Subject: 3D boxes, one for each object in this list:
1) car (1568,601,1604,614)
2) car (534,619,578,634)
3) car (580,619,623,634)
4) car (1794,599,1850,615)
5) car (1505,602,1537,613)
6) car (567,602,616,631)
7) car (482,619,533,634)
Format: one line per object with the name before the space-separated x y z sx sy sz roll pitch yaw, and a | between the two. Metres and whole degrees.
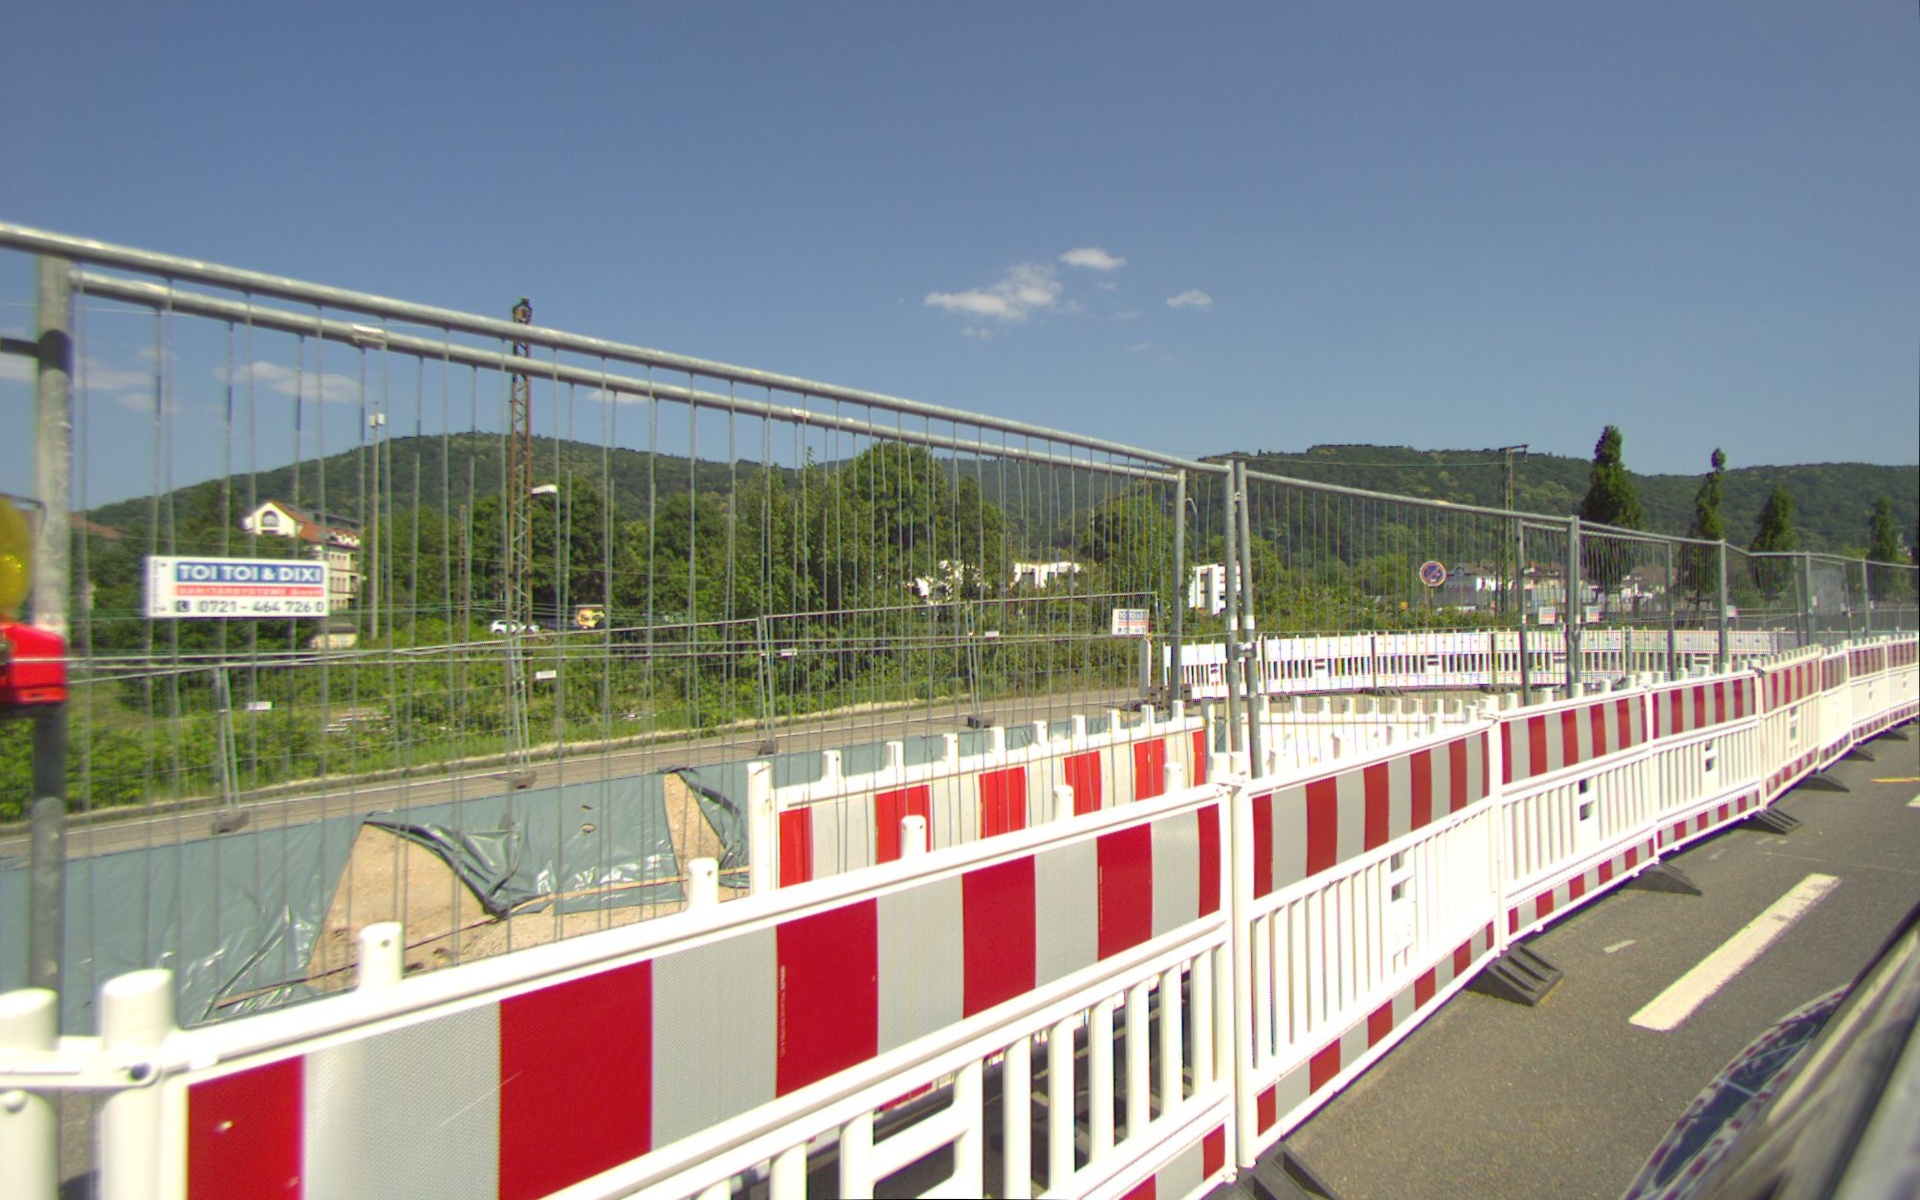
car | 86.748 1.096 140.286 1.794 1.647 4.376 -4 0 -9
car | -40.051 2.611 100.318 3.764 1.384 1.785 -1 -1 -8
car | -35.770 2.660 101.016 3.763 1.384 1.786 -1 -1 -11
car | 92.224 0.758 108.369 1.794 1.647 4.376 -4 0 -9
car | 84.766 1.078 153.001 1.794 1.510 4.376 -4 0 -9
car | -37.750 1.671 103.692 4.543 2.888 1.869 -1 -1 -16
car | -44.632 2.604 99.886 4.228 1.384 1.868 -1 -1 -7
